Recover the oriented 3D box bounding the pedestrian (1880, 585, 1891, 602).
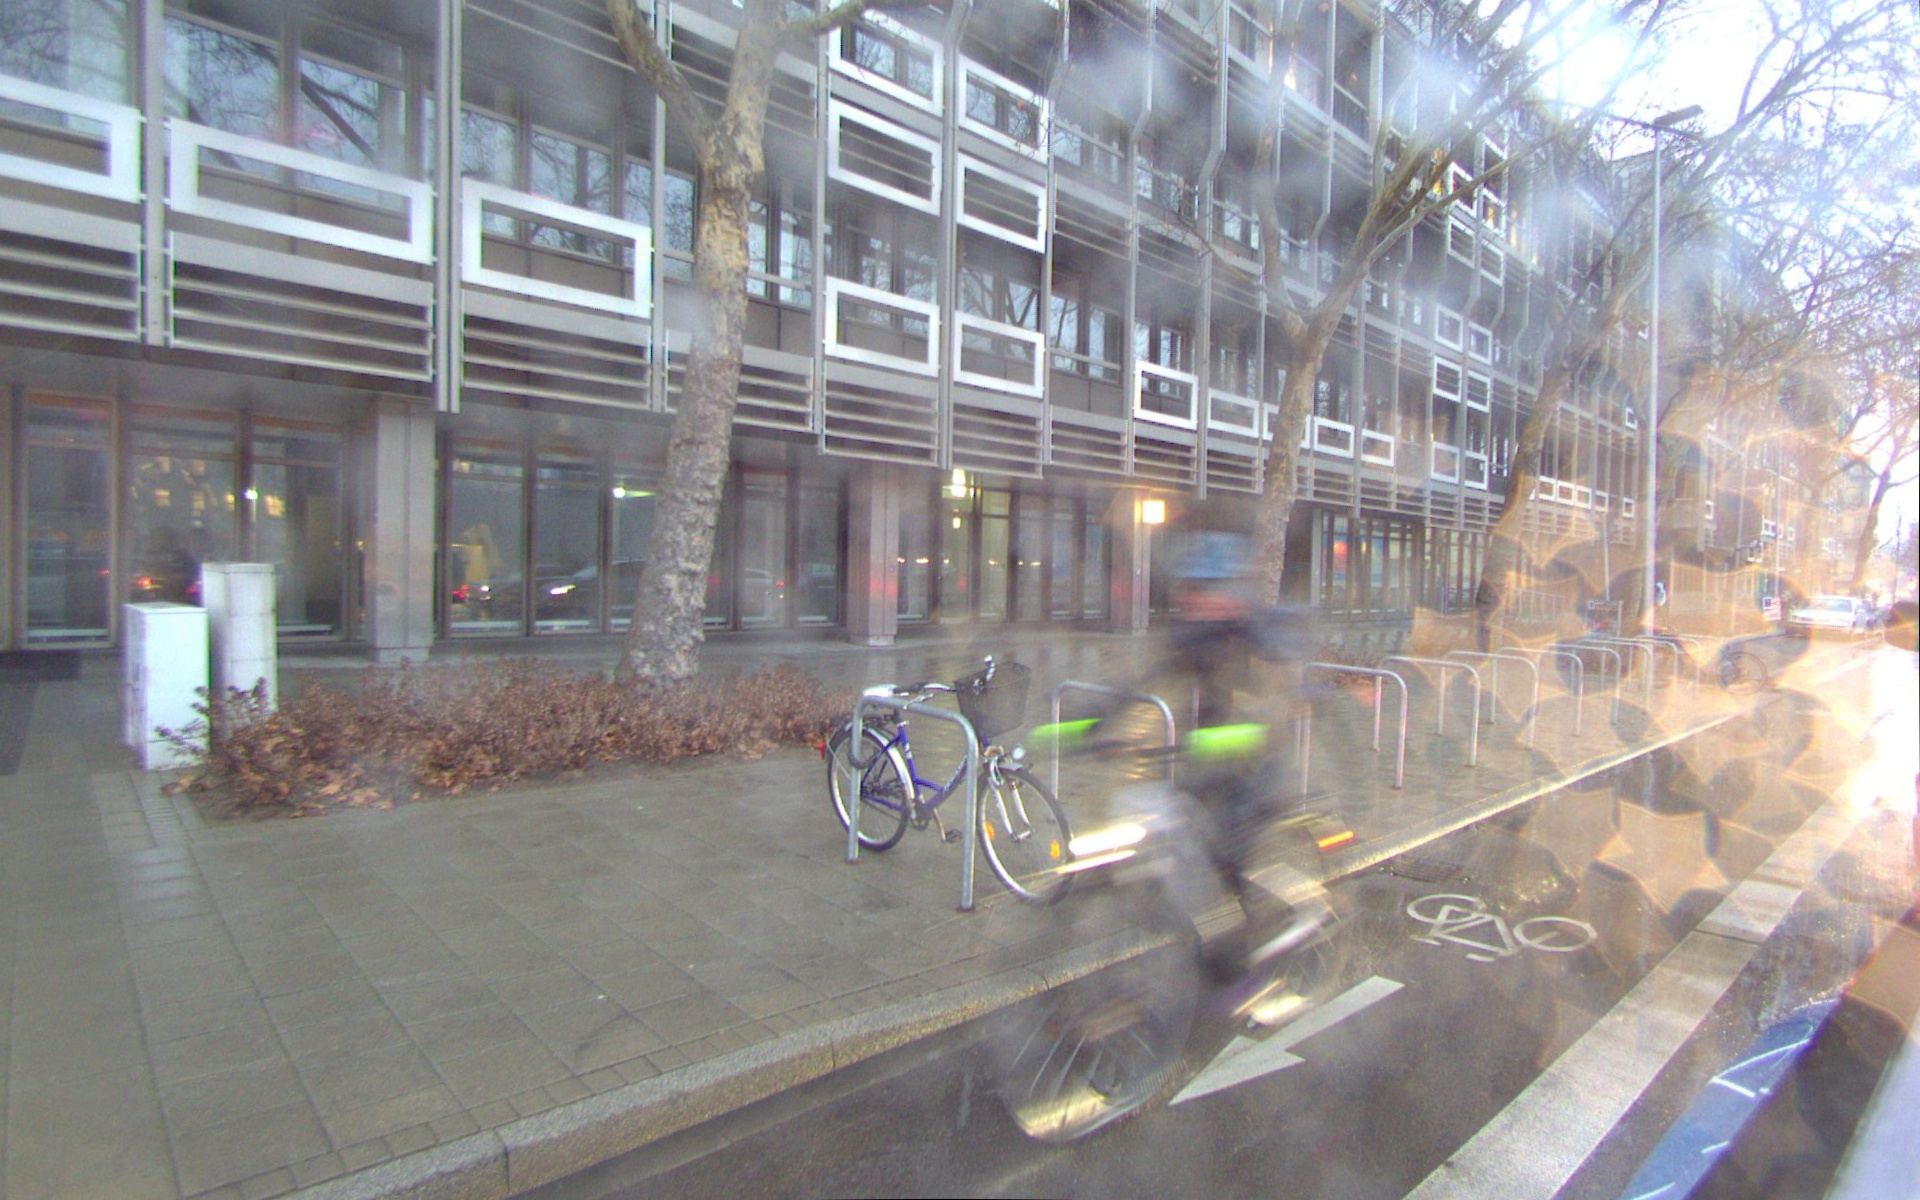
[{"bbox_3d":[96.228,-0.679,105.221,0.765,1.771,0.913,2,2,45],"label":"pedestrian"}]

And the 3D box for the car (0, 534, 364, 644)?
[{"bbox_3d":[-10.738,-0.193,14.114,3.929,1.326,1.998,0,3,-40],"label":"car"}]

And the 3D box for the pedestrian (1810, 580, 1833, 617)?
[{"bbox_3d":[42.570,-0.088,50.016,0.765,1.771,0.913,2,2,45],"label":"pedestrian"}]

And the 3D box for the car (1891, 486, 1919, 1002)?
[{"bbox_3d":[5.476,0.504,4.377,3.933,1.864,1.875,-1,0,-43],"label":"car"}]

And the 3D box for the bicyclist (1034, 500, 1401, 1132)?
[{"bbox_3d":[0.836,0.567,3.265,0.947,1.681,0.704,1,1,-41],"label":"bicyclist"}]

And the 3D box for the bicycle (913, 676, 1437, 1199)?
[{"bbox_3d":[0.762,0.862,3.213,1.752,1.108,0.709,1,0,-41],"label":"bicycle"}]

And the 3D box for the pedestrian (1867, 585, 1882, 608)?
[{"bbox_3d":[72.846,-0.284,80.599,0.765,1.771,0.913,2,2,45],"label":"pedestrian"}]

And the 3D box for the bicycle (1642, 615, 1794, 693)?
[{"bbox_3d":[11.676,0.799,15.625,0.864,1.004,1.704,0,4,-41],"label":"bicycle"}]

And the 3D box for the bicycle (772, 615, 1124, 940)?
[{"bbox_3d":[-0.145,0.715,4.866,0.629,1.145,1.810,2,2,-41],"label":"bicycle"}]

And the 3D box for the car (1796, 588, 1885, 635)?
[{"bbox_3d":[29.435,0.341,33.813,3.930,1.482,1.711,-1,1,-41],"label":"car"}]

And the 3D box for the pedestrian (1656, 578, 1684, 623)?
[{"bbox_3d":[28.942,0.001,41.267,0.765,1.771,0.913,2,2,45],"label":"pedestrian"}]
